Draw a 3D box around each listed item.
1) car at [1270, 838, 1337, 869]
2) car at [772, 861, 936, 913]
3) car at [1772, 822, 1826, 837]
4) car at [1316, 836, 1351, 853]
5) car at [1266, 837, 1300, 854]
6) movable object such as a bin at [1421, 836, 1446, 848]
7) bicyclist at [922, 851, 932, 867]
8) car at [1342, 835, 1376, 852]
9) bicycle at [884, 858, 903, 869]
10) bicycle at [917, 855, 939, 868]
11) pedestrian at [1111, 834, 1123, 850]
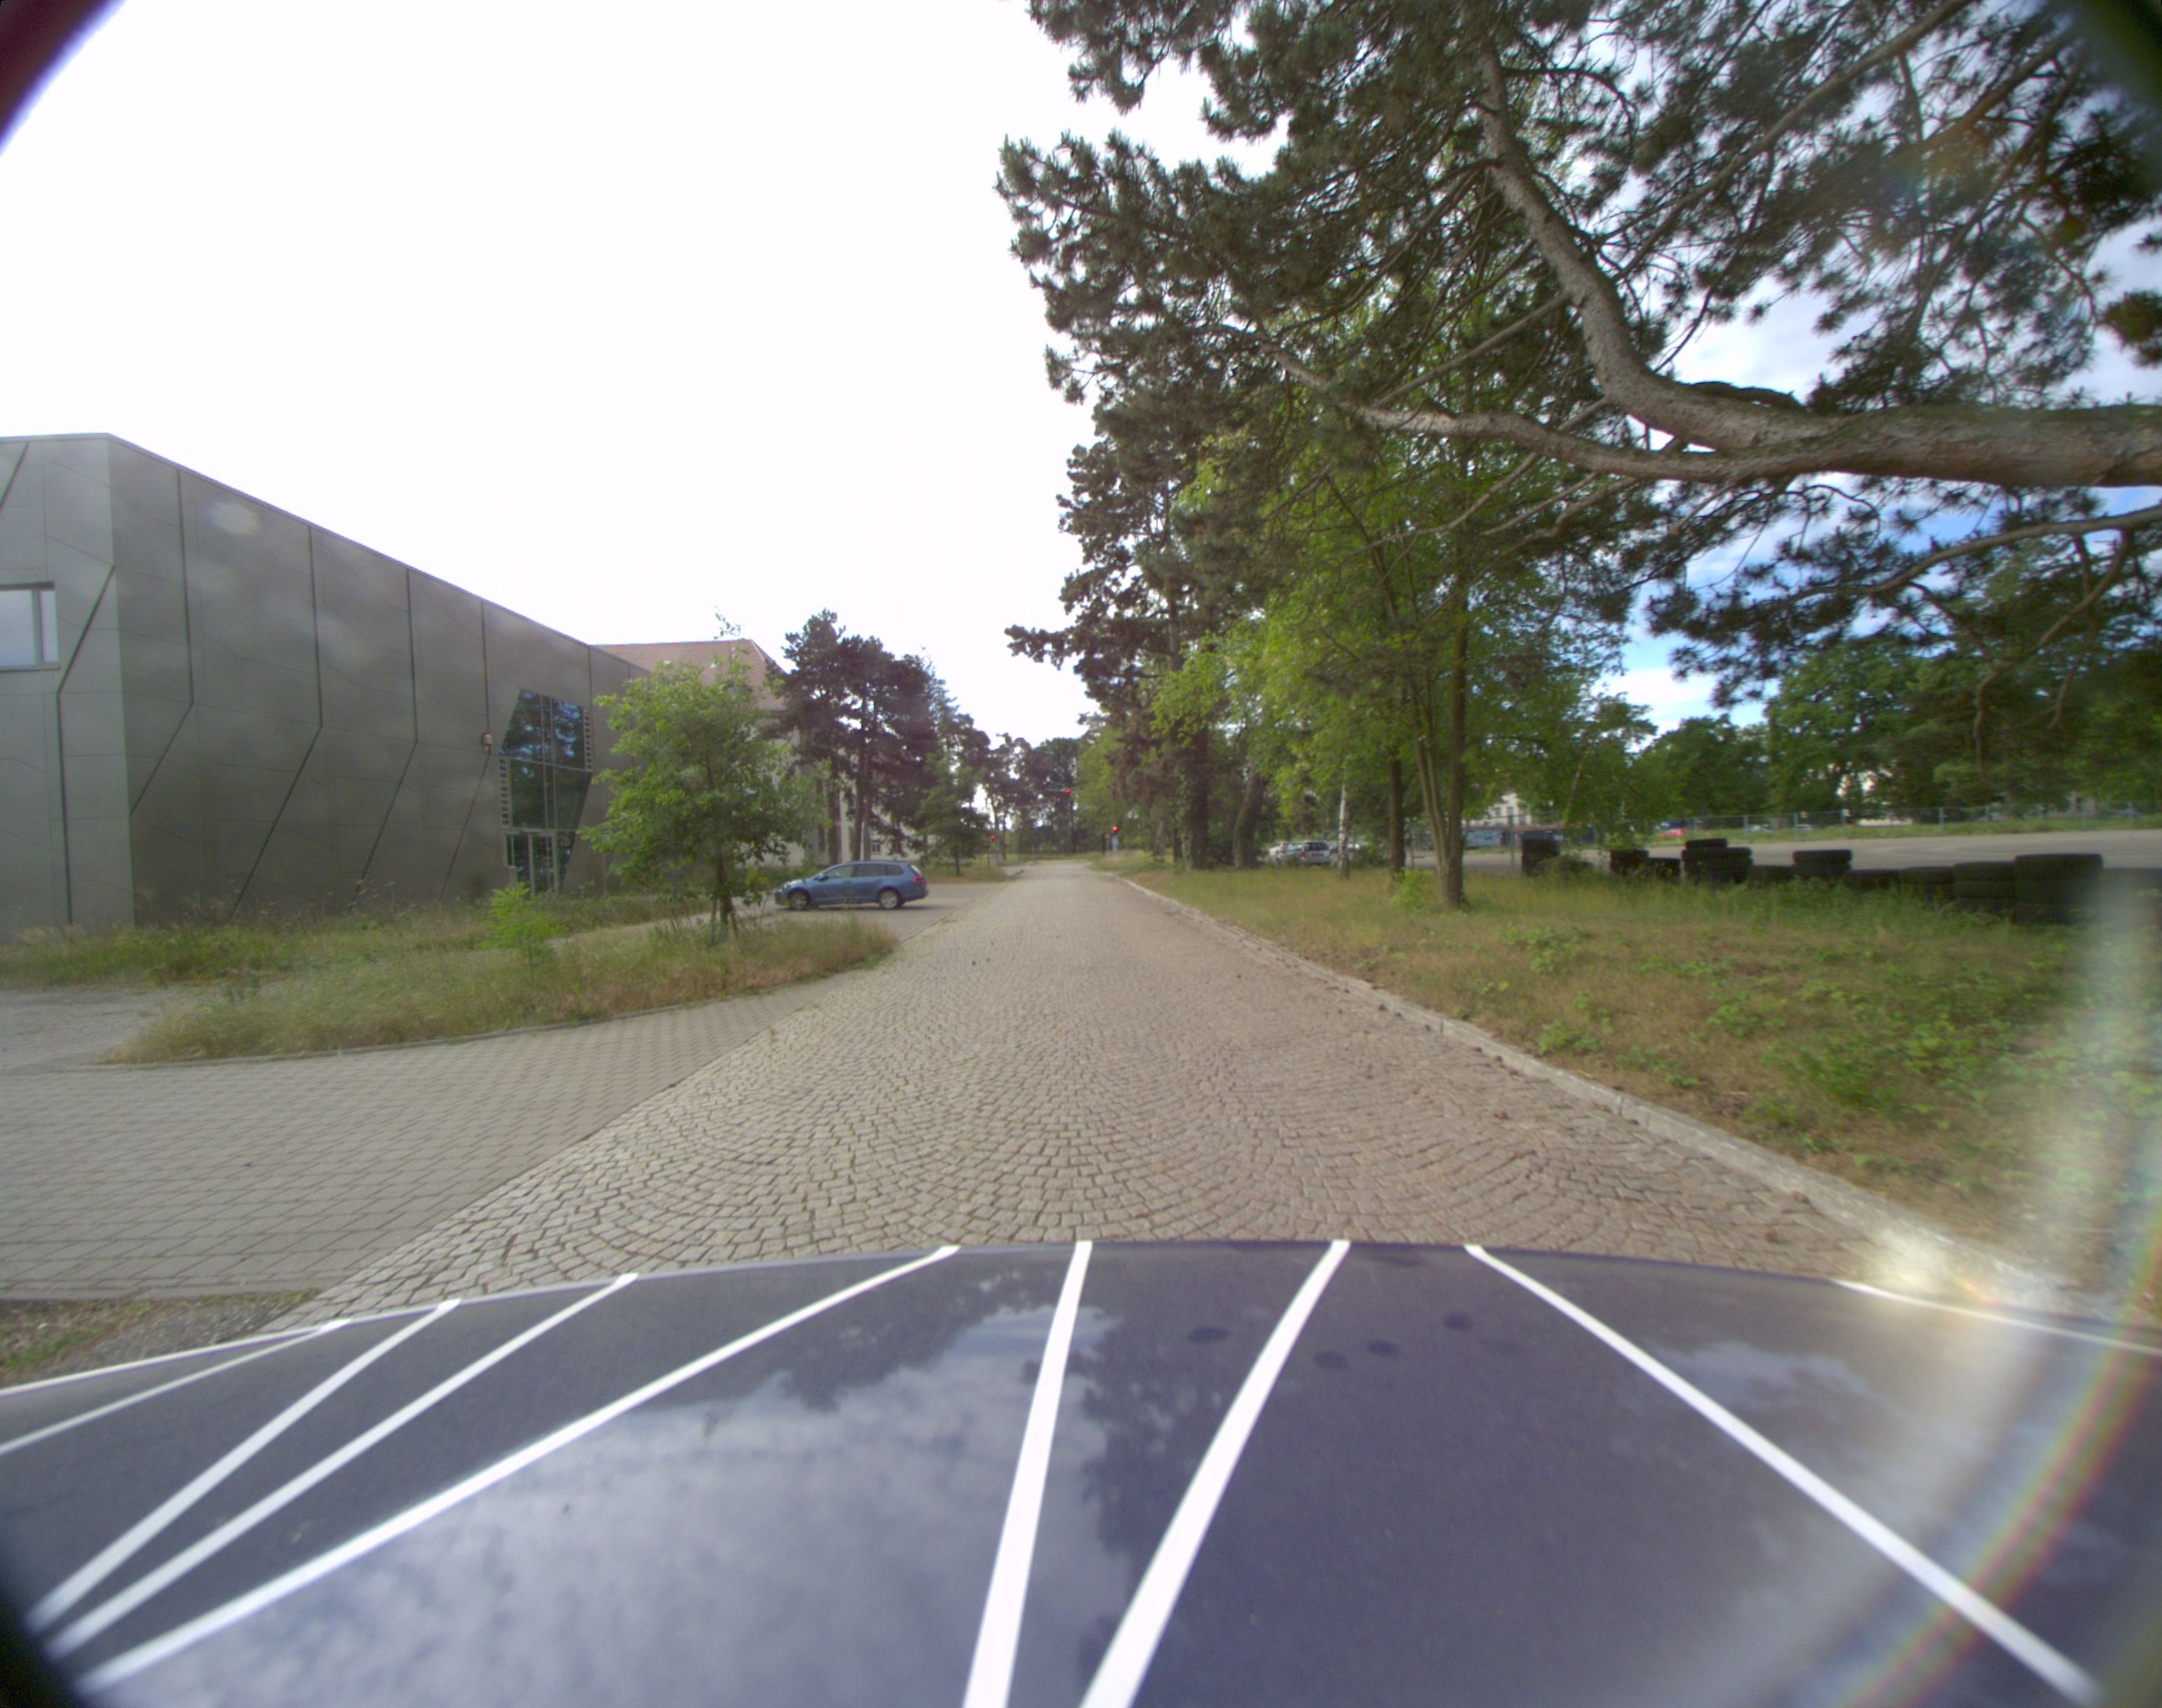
[{"bbox_3d":[11.191,-0.048,38.512,1.720,1.430,4.465,-3,1,-4],"label":"car"},{"bbox_3d":[-6.871,0.979,23.412,4.535,1.435,1.822,0,1,-5],"label":"car"},{"bbox_3d":[84.496,-2.864,89.520,1.840,1.512,4.584,-2,-1,-4],"label":"car"},{"bbox_3d":[25.505,-0.908,76.808,1.840,1.460,4.584,-2,-1,-2],"label":"car"},{"bbox_3d":[20.258,-0.845,76.299,1.840,1.441,4.654,-2,-1,-4],"label":"car"},{"bbox_3d":[29.777,-0.995,64.220,1.041,0.928,1.934,-2,0,-9],"label":"movable object such as a bin"},{"bbox_3d":[-16.284,0.514,80.589,0.917,1.626,0.963,-2,1,-9],"label":"bicyclist"},{"bbox_3d":[28.236,-1.052,77.272,1.737,1.512,4.114,-2,-1,-2],"label":"car"},{"bbox_3d":[-19.993,1.002,81.132,1.836,1.079,0.572,-2,3,1],"label":"bicycle"},{"bbox_3d":[-16.230,0.828,80.595,2.163,1.268,0.963,-2,1,-9],"label":"bicycle"},{"bbox_3d":[3.415,-1.137,71.797,0.883,1.509,0.822,-2,1,12],"label":"pedestrian"}]
